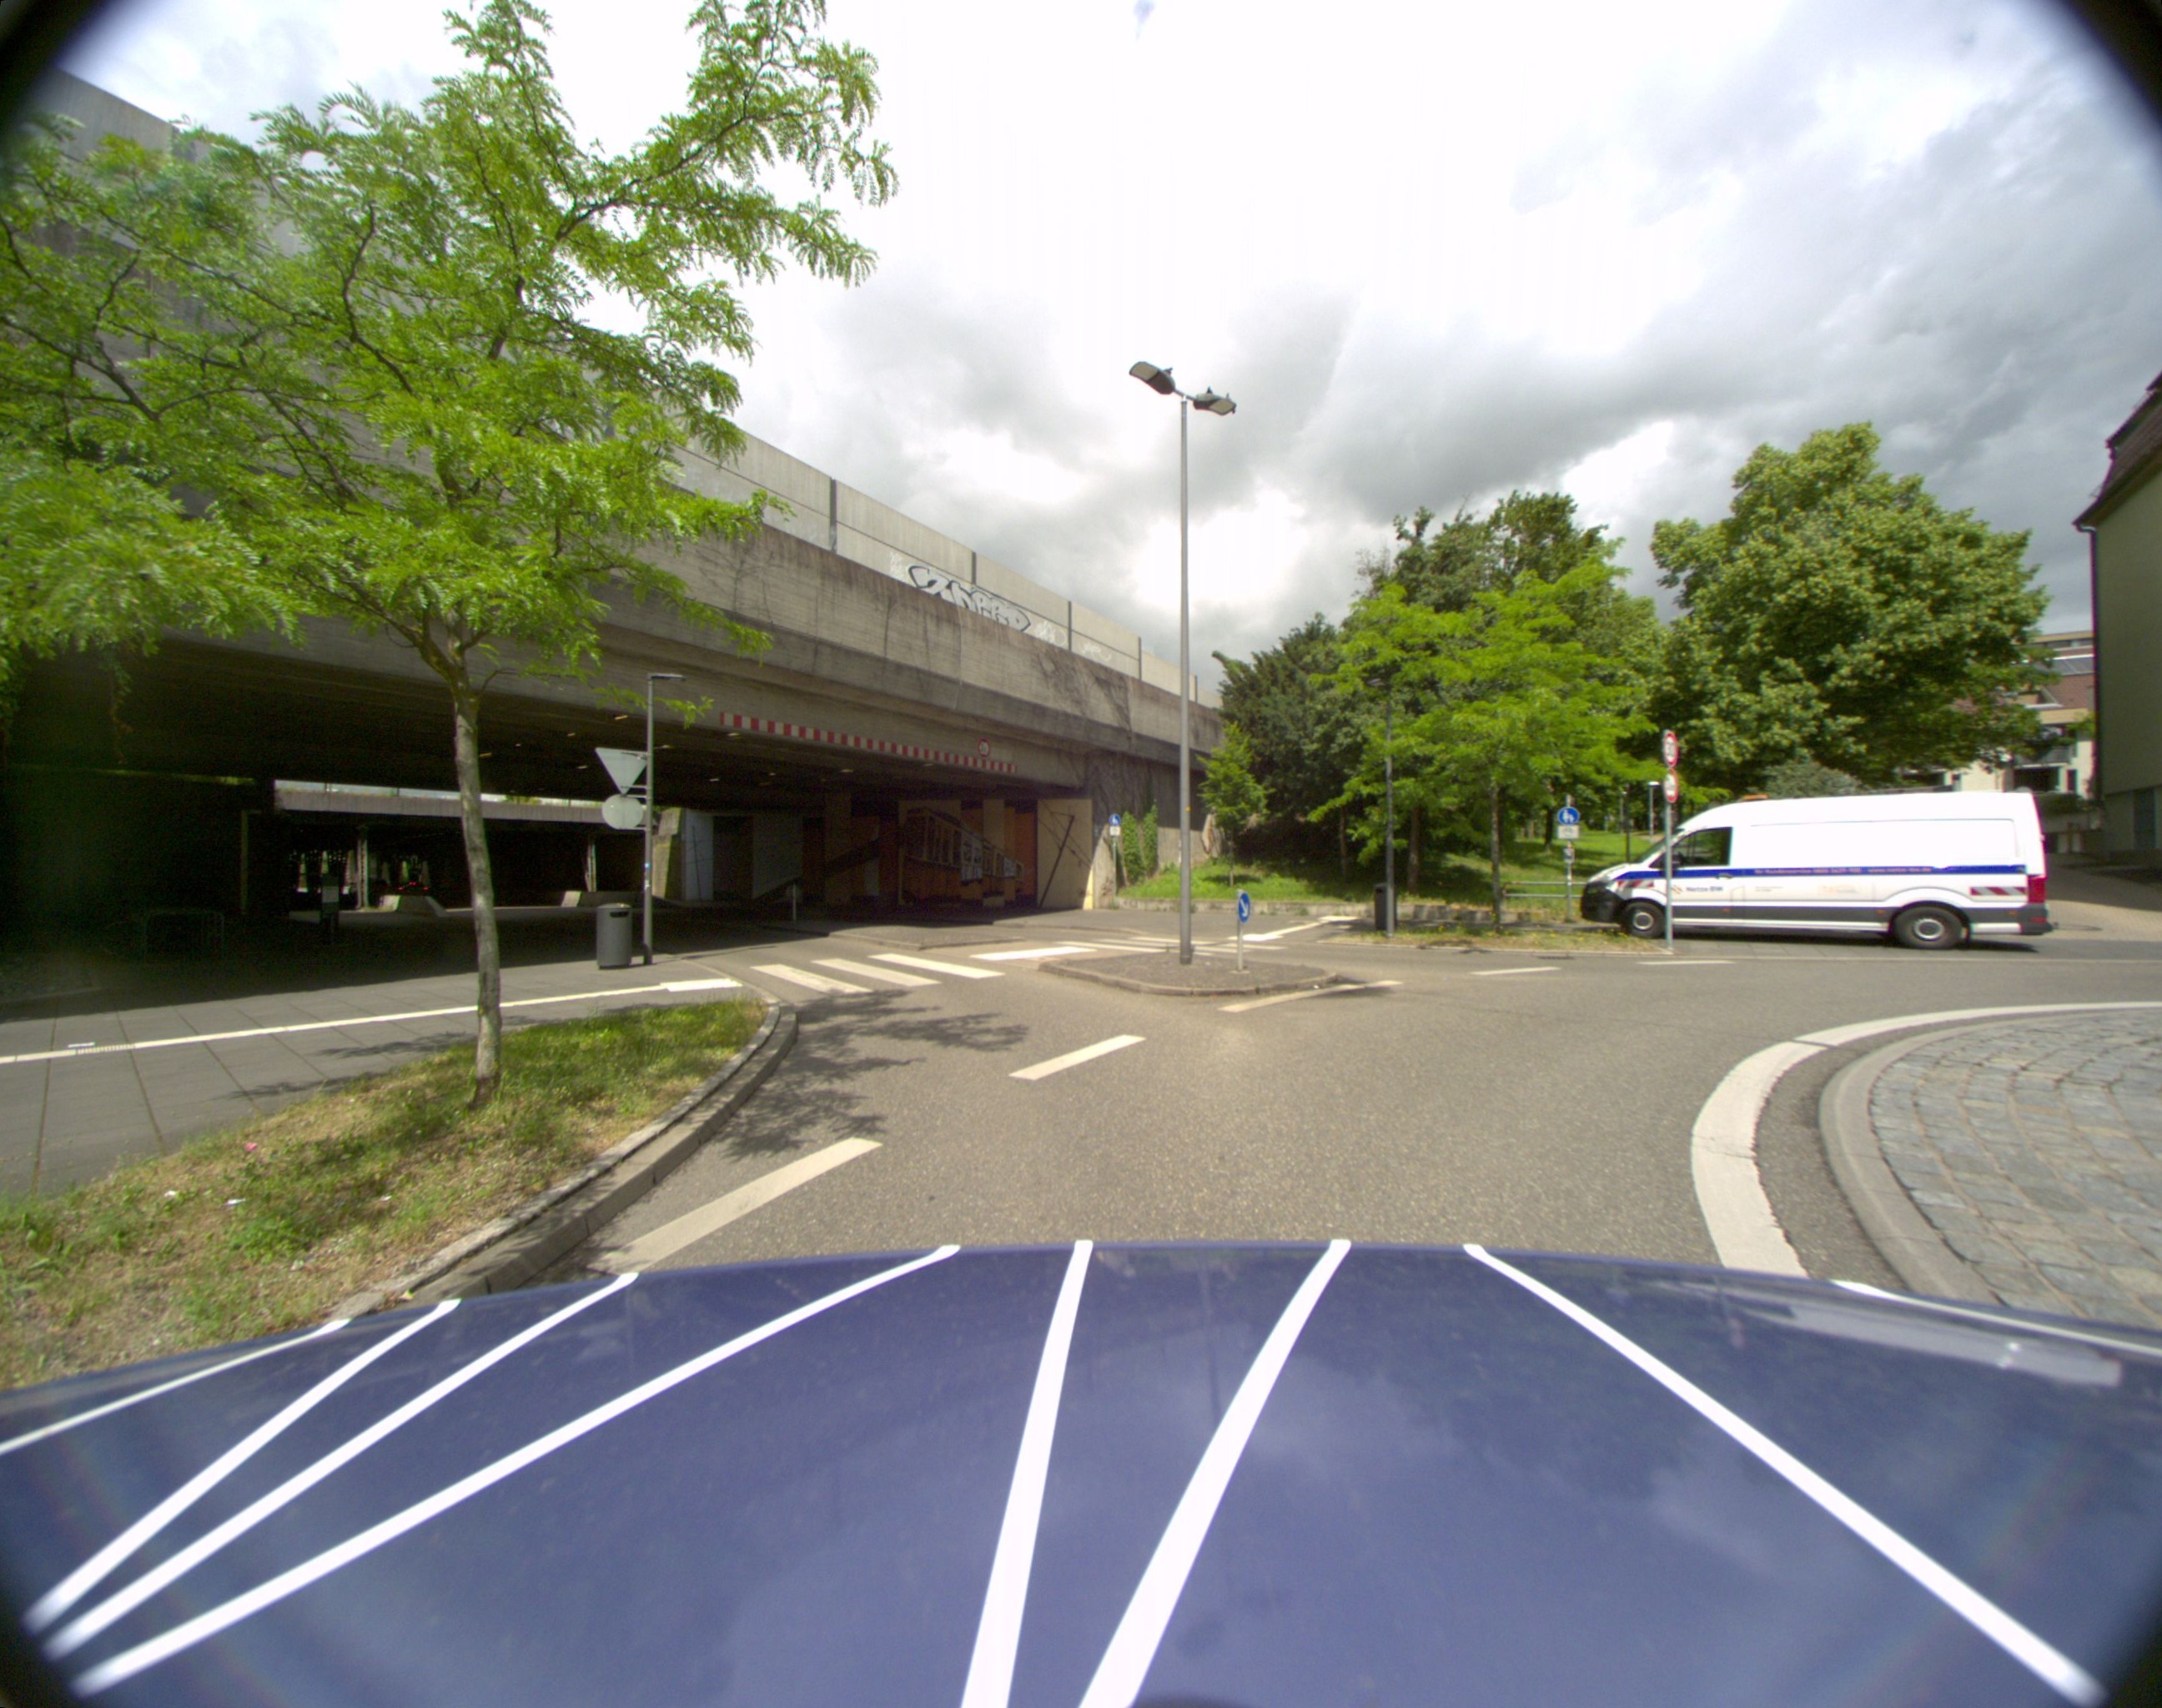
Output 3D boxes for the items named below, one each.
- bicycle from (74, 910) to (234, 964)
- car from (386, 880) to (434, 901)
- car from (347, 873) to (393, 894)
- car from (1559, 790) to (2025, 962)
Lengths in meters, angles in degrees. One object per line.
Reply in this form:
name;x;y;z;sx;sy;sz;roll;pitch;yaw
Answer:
bicycle;-18.214;1.598;14.978;0.505;0.899;1.956;0;-1;35
car;-47.292;2.536;53.530;3.842;1.438;1.681;-2;-2;35
car;-56.256;2.351;60.130;4.202;1.643;1.835;-2;-2;36
car;12.338;0.391;13.944;5.914;2.591;1.978;-2;0;35
